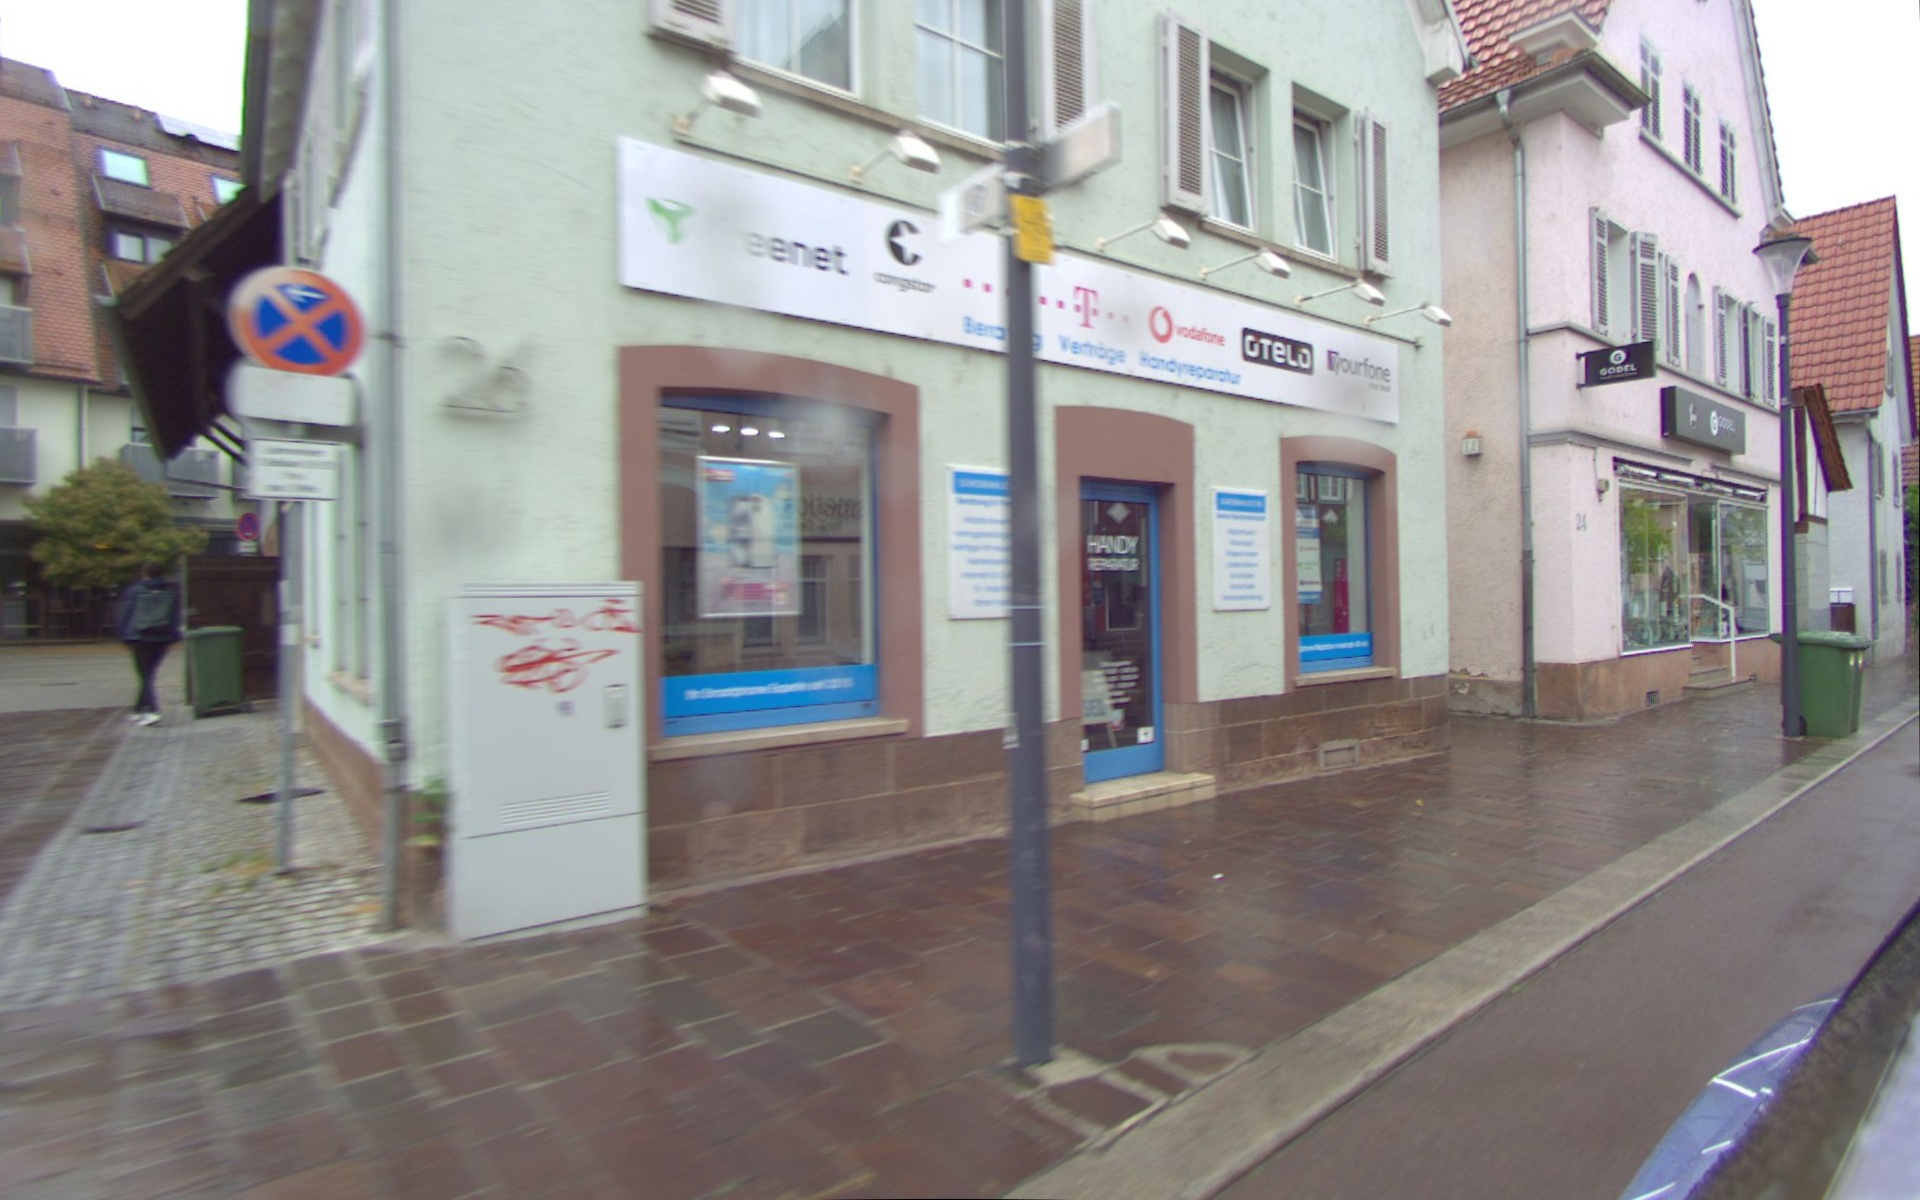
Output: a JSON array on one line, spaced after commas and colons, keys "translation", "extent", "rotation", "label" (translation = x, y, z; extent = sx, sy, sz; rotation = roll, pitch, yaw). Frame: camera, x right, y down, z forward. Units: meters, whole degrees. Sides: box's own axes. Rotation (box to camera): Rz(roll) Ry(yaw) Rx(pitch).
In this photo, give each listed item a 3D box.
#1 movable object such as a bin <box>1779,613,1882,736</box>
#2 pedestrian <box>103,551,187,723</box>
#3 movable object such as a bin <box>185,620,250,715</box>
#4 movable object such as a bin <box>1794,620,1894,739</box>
[{"translation": [9.154, 0.752, 10.647], "extent": [0.568, 1.216, 0.720], "rotation": [-1, 0, -39], "label": "movable object such as a bin"}, {"translation": [-9.499, 0.417, 11.803], "extent": [0.565, 1.944, 0.509], "rotation": [1, -1, 19], "label": "pedestrian"}, {"translation": [-9.094, 0.811, 12.408], "extent": [0.534, 1.094, 0.567], "rotation": [-1, 0, -25], "label": "movable object such as a bin"}, {"translation": [9.628, 0.841, 11.026], "extent": [0.563, 1.216, 0.720], "rotation": [-1, 0, -39], "label": "movable object such as a bin"}]
